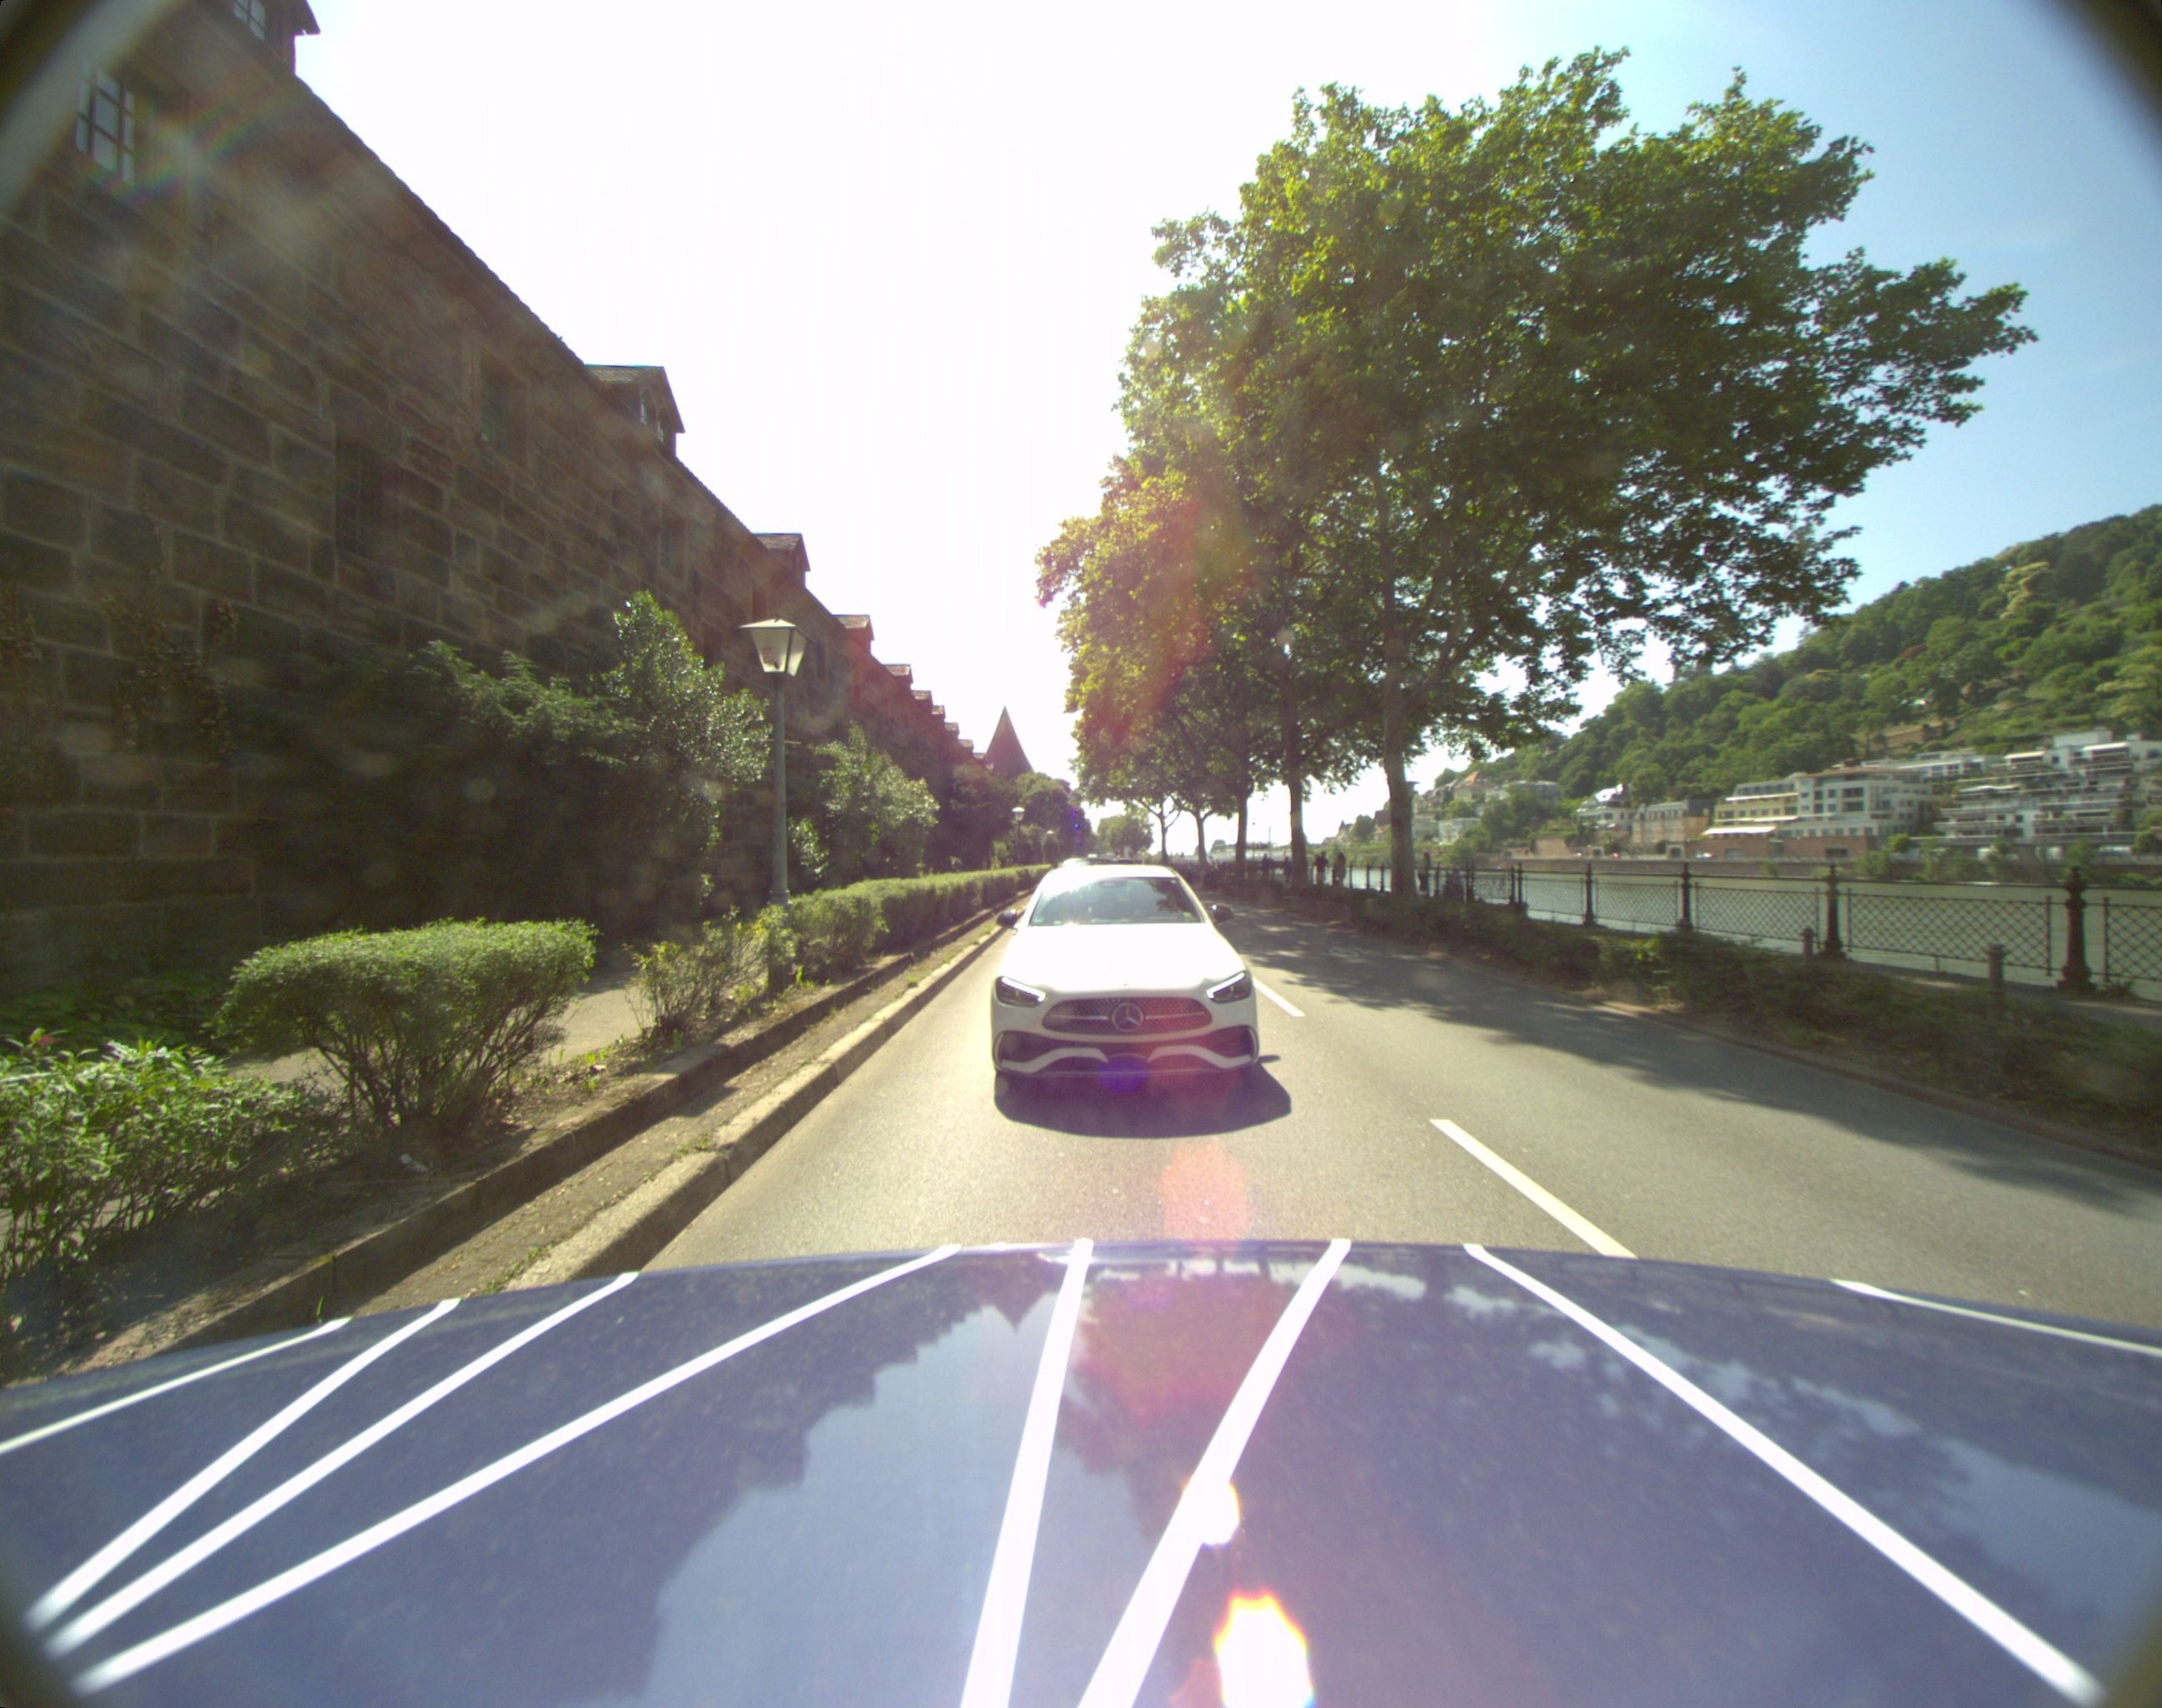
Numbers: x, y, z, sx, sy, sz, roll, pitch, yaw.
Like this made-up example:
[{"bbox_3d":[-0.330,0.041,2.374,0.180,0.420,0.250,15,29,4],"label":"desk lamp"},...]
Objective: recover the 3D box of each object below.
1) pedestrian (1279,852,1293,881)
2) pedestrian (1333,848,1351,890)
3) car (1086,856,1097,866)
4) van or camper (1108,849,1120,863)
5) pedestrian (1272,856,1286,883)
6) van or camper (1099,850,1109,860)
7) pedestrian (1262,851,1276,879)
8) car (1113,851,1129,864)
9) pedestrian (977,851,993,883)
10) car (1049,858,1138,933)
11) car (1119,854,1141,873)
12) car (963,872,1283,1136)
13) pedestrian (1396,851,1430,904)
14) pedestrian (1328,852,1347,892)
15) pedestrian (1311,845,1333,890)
[{"bbox_3d":[12.826,0.797,47.631,0.705,1.786,0.705,0,1,3],"label":"pedestrian"},{"bbox_3d":[10.950,0.620,31.907,0.518,1.758,0.592,1,0,1],"label":"pedestrian"},{"bbox_3d":[2.145,1.498,156.344,1.923,1.975,3.999,0,0,-2],"label":"car"},{"bbox_3d":[6.161,0.433,142.087,1.965,2.552,5.841,1,0,1],"label":"van or camper"},{"bbox_3d":[12.004,0.916,46.061,0.705,1.594,0.705,0,1,3],"label":"pedestrian"},{"bbox_3d":[6.016,0.320,200.507,2.328,2.646,6.264,1,0,0],"label":"van or camper"},{"bbox_3d":[11.738,0.706,47.459,0.705,1.721,0.705,0,1,3],"label":"pedestrian"},{"bbox_3d":[5.411,0.483,102.551,1.882,1.688,4.258,1,0,0],"label":"car"},{"bbox_3d":[-5.029,0.683,39.702,0.700,1.643,0.705,1,0,3],"label":"pedestrian"},{"bbox_3d":[0.301,0.886,18.013,1.854,1.543,3.848,1,0,1],"label":"car"},{"bbox_3d":[4.482,0.849,69.890,1.768,1.638,4.090,1,0,1],"label":"car"},{"bbox_3d":[0.271,0.931,6.615,1.829,1.418,4.359,-1,0,1],"label":"car"},{"bbox_3d":[10.942,0.758,25.075,0.695,1.707,0.874,-2,1,-1],"label":"pedestrian"},{"bbox_3d":[10.958,0.763,32.460,0.616,1.709,0.455,-2,1,1],"label":"pedestrian"},{"bbox_3d":[10.244,0.577,32.318,0.642,1.859,0.806,1,0,1],"label":"pedestrian"}]
